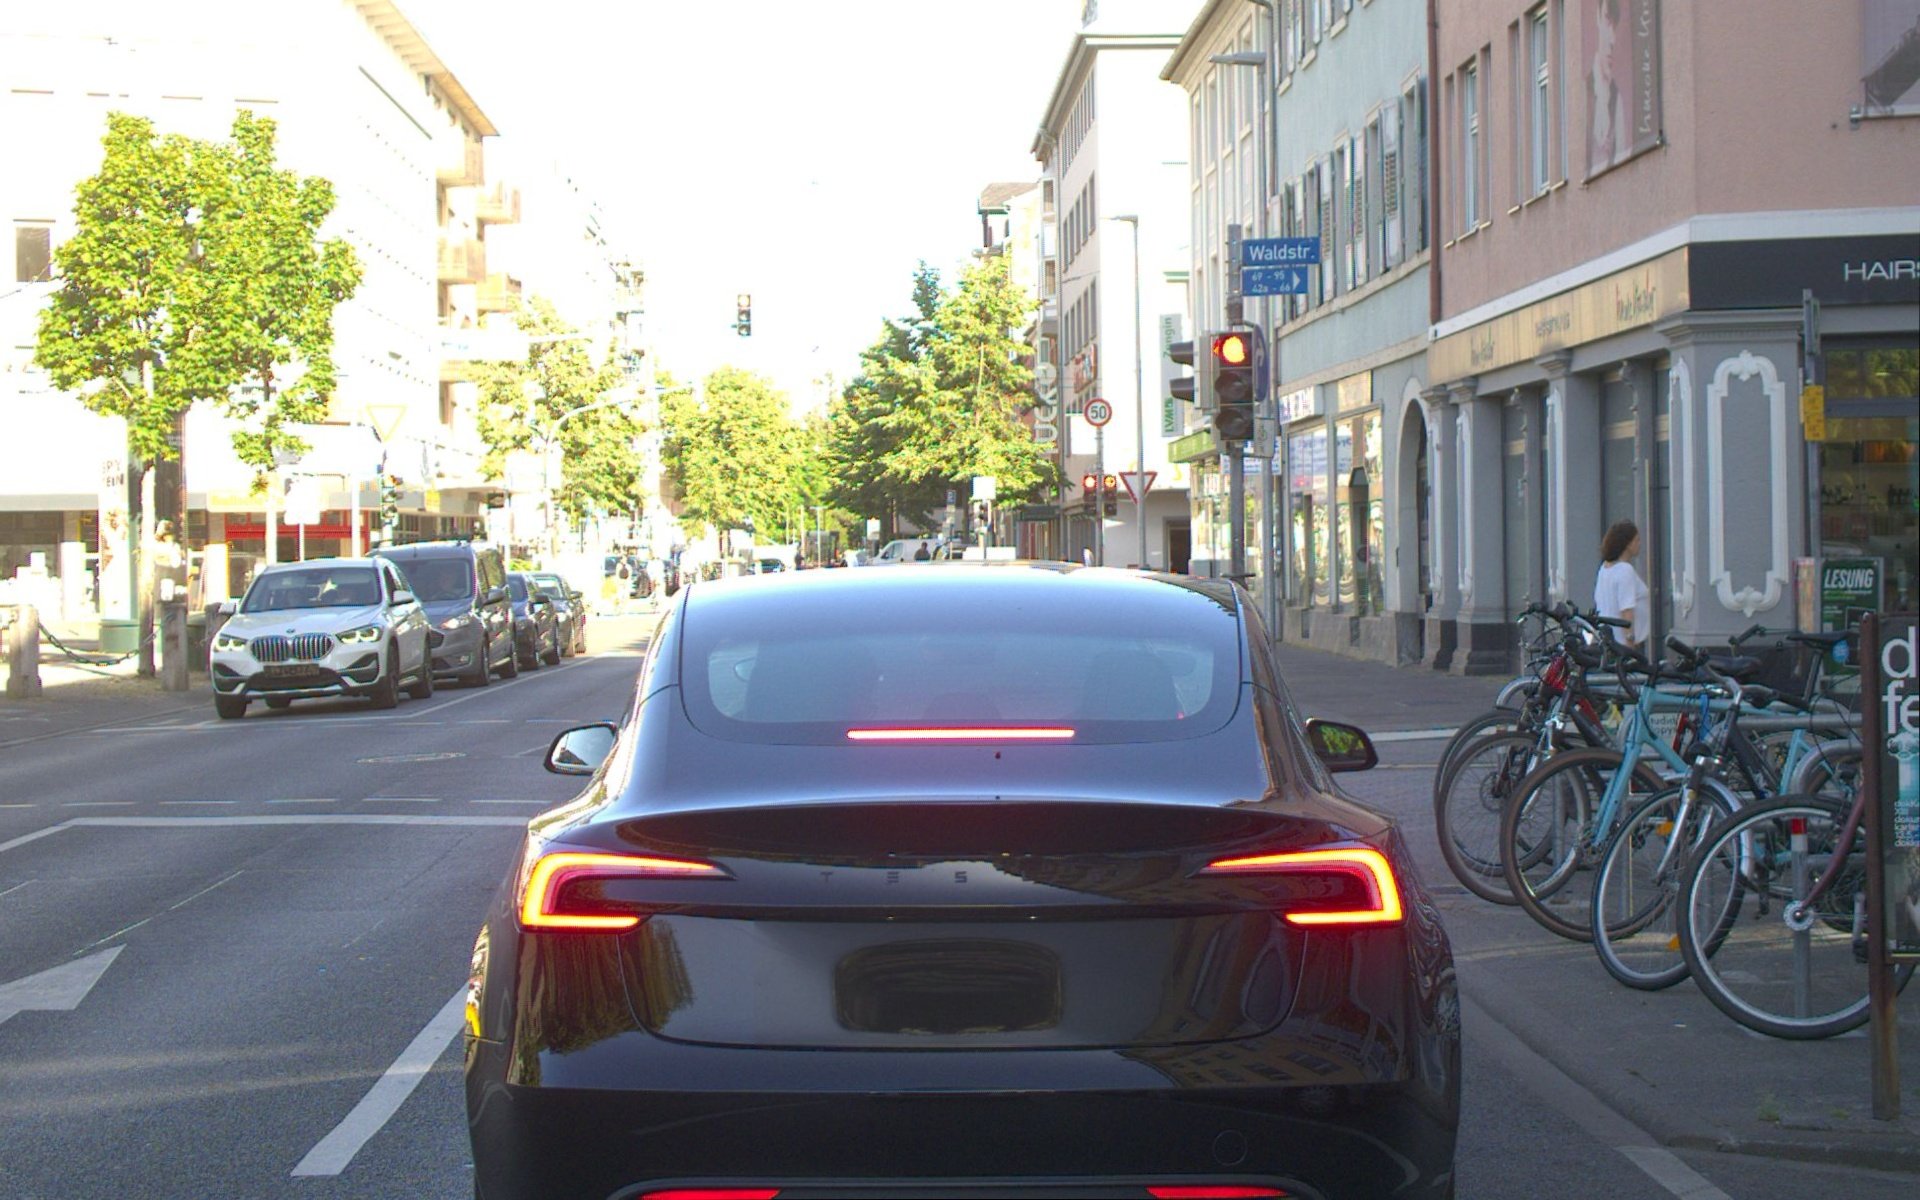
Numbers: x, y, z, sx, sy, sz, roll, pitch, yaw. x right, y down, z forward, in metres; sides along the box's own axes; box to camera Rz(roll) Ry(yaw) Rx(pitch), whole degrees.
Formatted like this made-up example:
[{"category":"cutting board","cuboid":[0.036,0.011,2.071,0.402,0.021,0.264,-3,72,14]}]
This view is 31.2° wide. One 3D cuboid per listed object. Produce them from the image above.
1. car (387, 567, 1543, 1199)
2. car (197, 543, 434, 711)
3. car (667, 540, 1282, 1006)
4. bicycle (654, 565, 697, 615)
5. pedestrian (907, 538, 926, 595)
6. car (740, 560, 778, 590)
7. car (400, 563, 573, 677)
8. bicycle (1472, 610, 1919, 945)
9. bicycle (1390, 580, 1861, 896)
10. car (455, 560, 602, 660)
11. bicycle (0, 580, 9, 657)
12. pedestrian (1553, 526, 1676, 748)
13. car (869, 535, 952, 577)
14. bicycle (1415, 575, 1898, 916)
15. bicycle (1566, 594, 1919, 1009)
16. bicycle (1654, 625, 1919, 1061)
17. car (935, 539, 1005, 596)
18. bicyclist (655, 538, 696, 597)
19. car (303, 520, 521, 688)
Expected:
[{"category":"car","cuboid":[-0.012,0.659,7.510,1.848,1.450,4.000,0,1,-1]},{"category":"car","cuboid":[-6.752,0.235,36.418,1.807,1.550,4.310,-4,1,-3]},{"category":"car","cuboid":[-0.020,0.524,13.219,1.993,1.507,4.176,0,1,-2]},{"category":"bicycle","cuboid":[-7.892,-0.290,95.541,1.111,1.340,4.001,0,1,-3]},{"category":"pedestrian","cuboid":[-1.543,-1.186,121.358,0.640,2.007,0.691,0,1,-4]},{"category":"car","cuboid":[-10.935,-1.363,187.085,1.993,1.631,4.001,0,1,-3]},{"category":"car","cuboid":[-6.746,0.244,49.442,1.993,1.405,4.675,-4,1,-3]},{"category":"bicycle","cuboid":[2.805,0.628,12.480,1.798,1.120,0.781,-2,1,5]},{"category":"bicycle","cuboid":[2.808,0.575,14.689,1.862,1.253,0.832,-2,1,5]},{"category":"car","cuboid":[-7.111,0.126,57.033,1.993,1.431,4.675,-4,1,-3]},{"category":"bicycle","cuboid":[-15.712,0.284,52.242,2.323,1.152,0.843,0,1,-5]},{"category":"pedestrian","cuboid":[4.625,0.252,24.319,0.747,1.547,0.699,0,1,1]},{"category":"car","cuboid":[-2.414,-2.143,167.563,3.986,2.007,2.000,0,1,-2]},{"category":"bicycle","cuboid":[2.738,0.563,13.658,1.746,1.262,0.781,-2,1,3]},{"category":"bicycle","cuboid":[2.885,0.625,11.128,1.722,1.263,0.790,-2,1,5]},{"category":"bicycle","cuboid":[3.031,0.675,9.997,1.886,1.189,0.691,-2,1,5]},{"category":"car","cuboid":[0.267,-0.961,100.845,1.993,1.623,4.000,0,1,0]},{"category":"bicyclist","cuboid":[-7.910,-0.906,95.624,1.126,1.623,0.965,0,1,-3]},{"category":"car","cuboid":[-6.715,0.000,42.614,1.834,1.838,4.674,-4,1,0]}]
